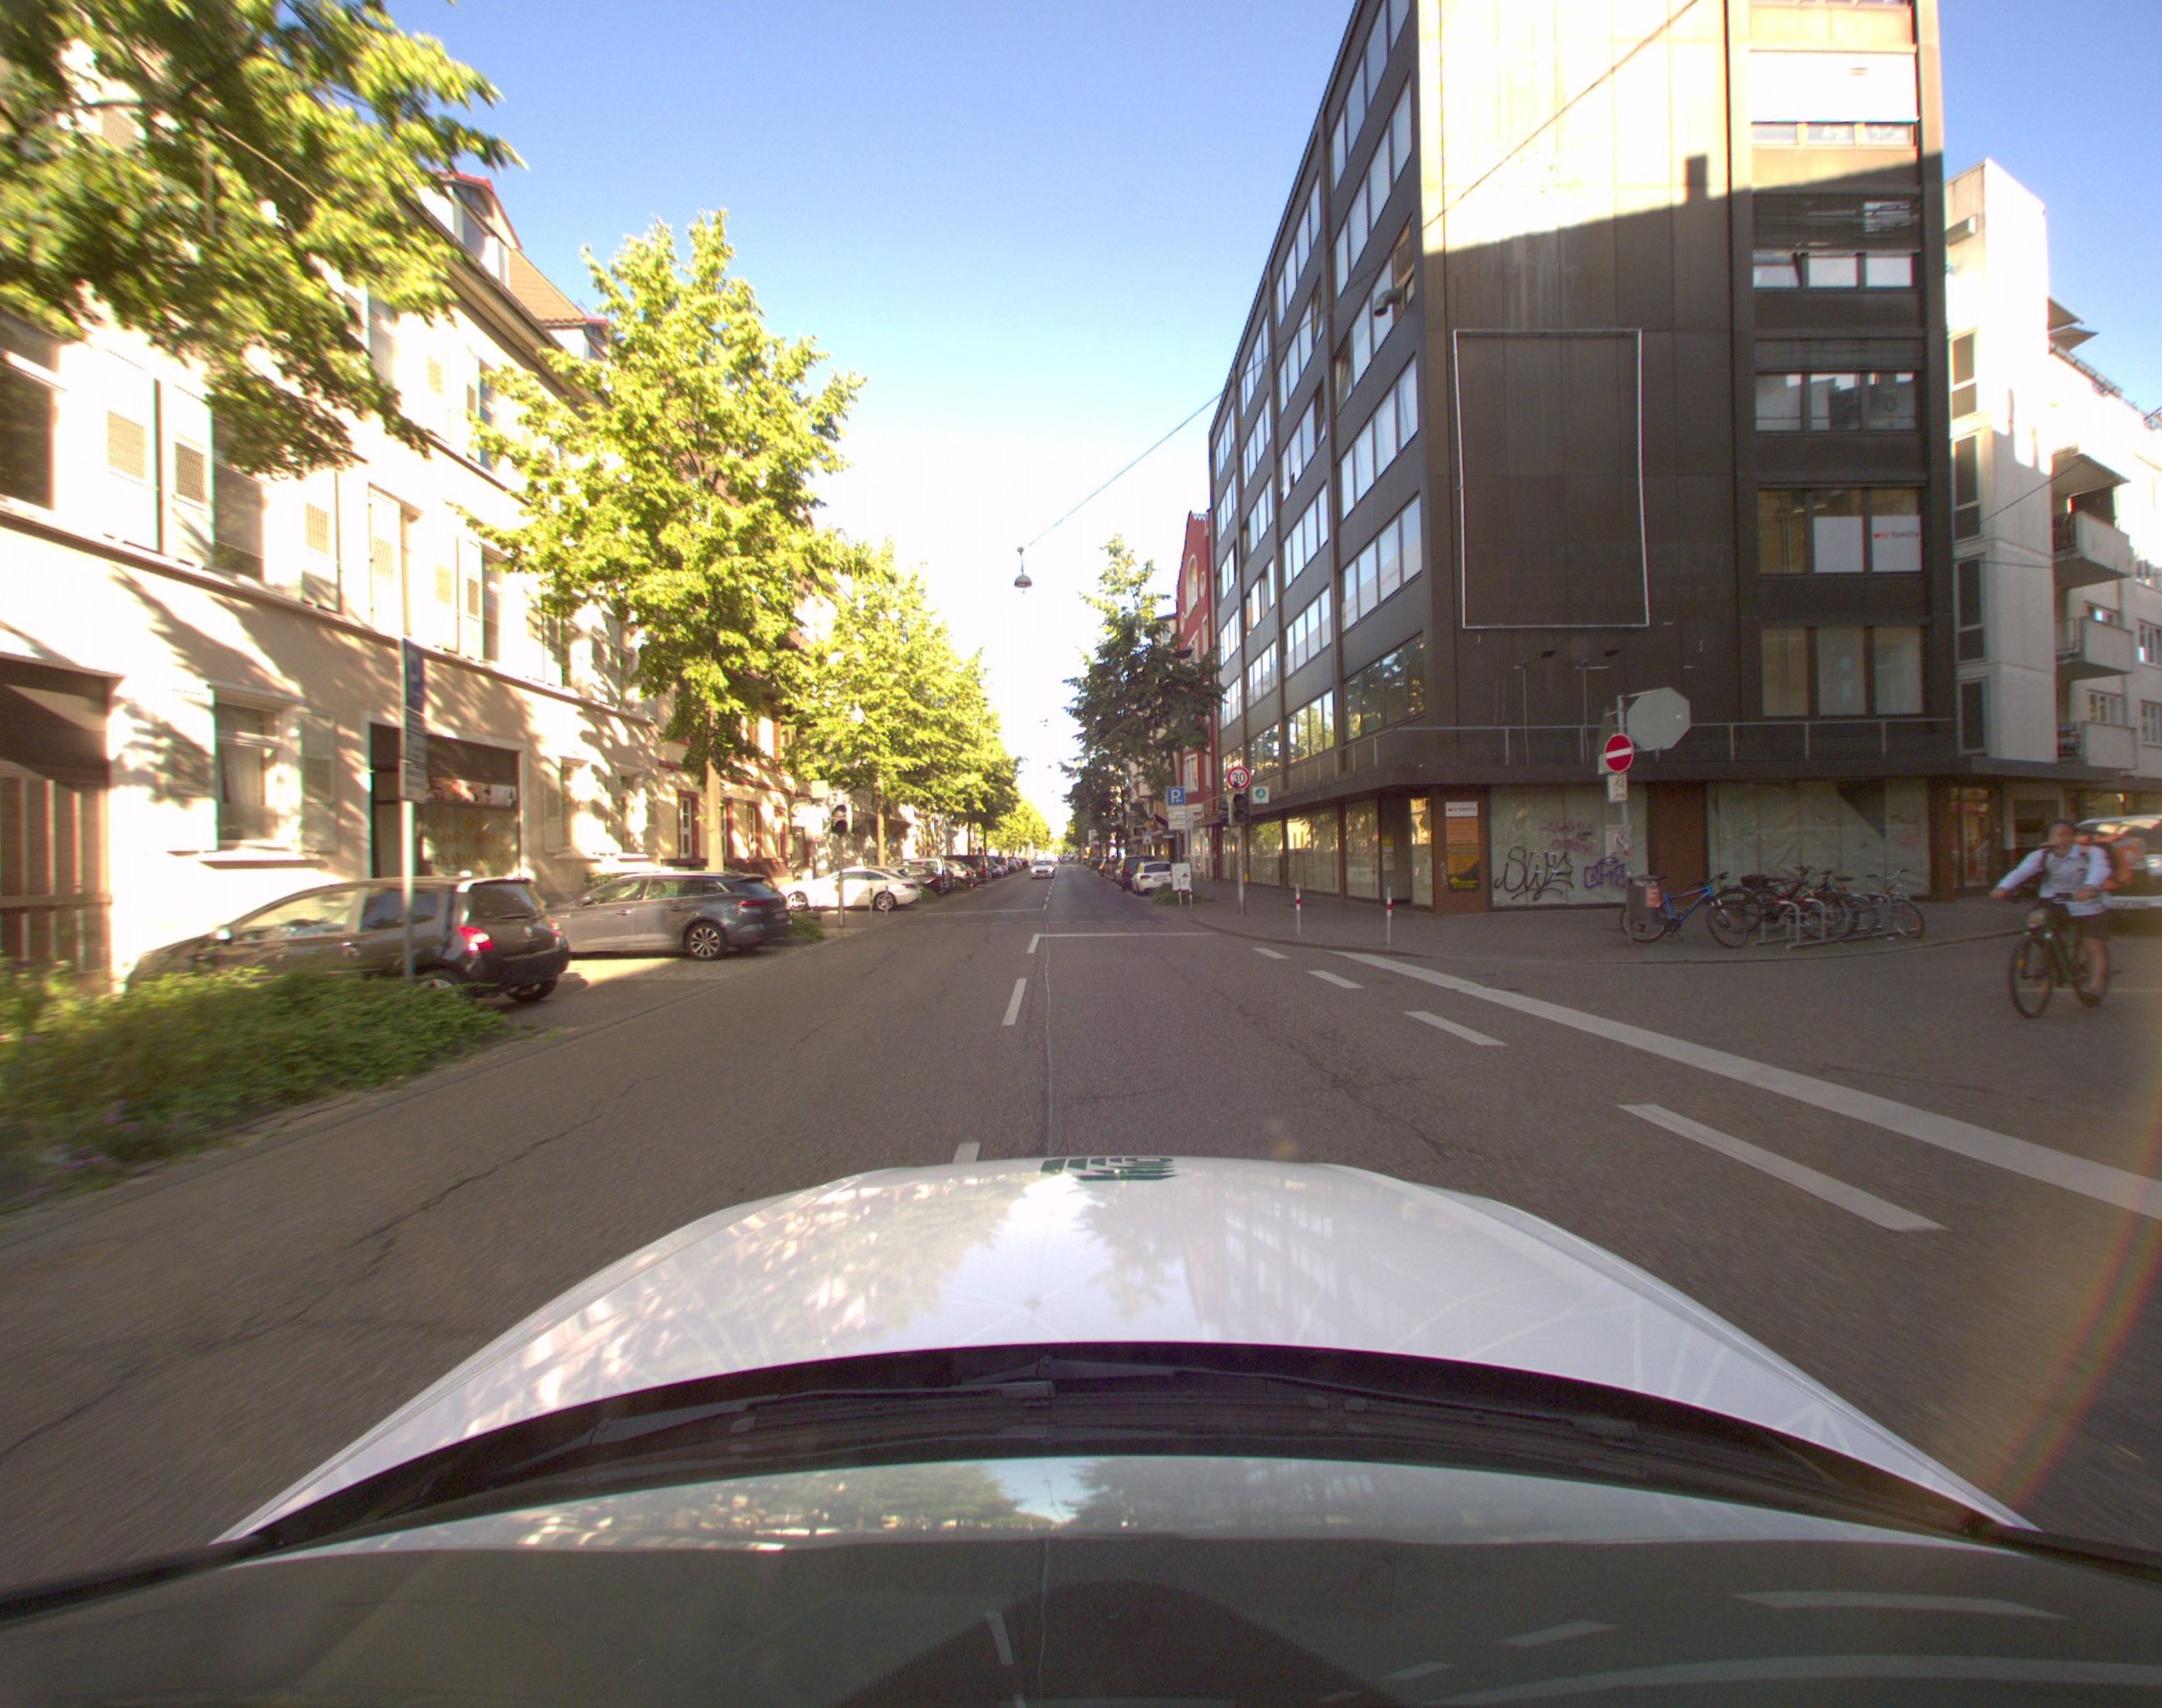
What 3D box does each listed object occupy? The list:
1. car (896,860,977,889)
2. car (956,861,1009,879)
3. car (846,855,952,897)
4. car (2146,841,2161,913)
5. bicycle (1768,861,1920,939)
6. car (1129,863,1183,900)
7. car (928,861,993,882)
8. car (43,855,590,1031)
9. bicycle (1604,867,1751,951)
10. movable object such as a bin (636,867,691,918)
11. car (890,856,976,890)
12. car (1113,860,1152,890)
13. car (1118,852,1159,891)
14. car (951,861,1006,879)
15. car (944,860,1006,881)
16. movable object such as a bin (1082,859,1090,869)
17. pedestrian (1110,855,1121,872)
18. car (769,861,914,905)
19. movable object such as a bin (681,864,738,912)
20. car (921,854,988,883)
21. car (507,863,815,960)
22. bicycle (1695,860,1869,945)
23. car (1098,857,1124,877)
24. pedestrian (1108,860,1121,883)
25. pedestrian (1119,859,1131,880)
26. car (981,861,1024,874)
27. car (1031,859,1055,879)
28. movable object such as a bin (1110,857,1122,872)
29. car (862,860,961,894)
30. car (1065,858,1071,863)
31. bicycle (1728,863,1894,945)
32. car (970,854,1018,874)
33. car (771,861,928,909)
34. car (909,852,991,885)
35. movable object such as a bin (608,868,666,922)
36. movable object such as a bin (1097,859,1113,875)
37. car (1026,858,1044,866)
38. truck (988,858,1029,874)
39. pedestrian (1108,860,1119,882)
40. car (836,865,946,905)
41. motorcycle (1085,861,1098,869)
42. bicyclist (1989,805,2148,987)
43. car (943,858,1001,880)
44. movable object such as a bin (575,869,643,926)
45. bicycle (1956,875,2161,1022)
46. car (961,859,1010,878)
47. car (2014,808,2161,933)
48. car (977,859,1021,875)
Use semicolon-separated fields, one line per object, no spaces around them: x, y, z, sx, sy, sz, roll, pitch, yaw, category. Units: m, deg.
-8.156;1.141;46.402;4.330;1.595;1.914;0;-1;-4;car
-8.687;1.434;72.103;4.449;1.541;1.917;0;-1;2;car
-8.141;0.977;36.735;4.325;1.824;1.930;0;-1;0;car
23.373;0.406;16.153;3.674;1.412;1.963;-1;-2;-25;car
12.667;0.725;13.581;0.574;1.132;1.731;0;2;-26;bicycle
3.184;1.142;35.425;1.817;1.402;4.840;-3;0;-1;car
-8.413;1.203;57.060;4.330;1.439;1.914;0;-1;-4;car
-7.835;0.852;8.702;3.973;1.640;1.944;0;-1;0;car
9.085;0.801;12.459;0.576;1.161;1.724;-1;0;-41;bicycle
-11.651;1.052;22.777;0.814;1.362;1.346;0;-1;2;movable object such as a bin
-7.922;1.010;43.991;4.330;1.733;1.914;0;-1;-4;car
2.970;1.186;48.211;1.817;1.596;4.839;-3;0;-1;car
2.894;0.844;41.849;1.815;1.777;4.933;-3;0;2;car
-8.724;1.347;69.348;4.455;1.541;1.915;0;-1;-3;car
-8.103;1.250;62.418;4.451;1.541;1.916;0;-1;0;car
0.791;1.691;136.644;1.136;1.562;1.462;-2;0;7;movable object such as a bin
3.881;1.056;91.573;0.917;1.935;0.765;-1;-1;23;pedestrian
-8.521;1.030;29.363;4.693;1.492;1.996;1;0;-6;car
-11.604;1.043;25.500;1.129;1.445;1.382;0;-1;2;movable object such as a bin
-8.426;0.967;54.182;4.342;1.834;1.909;0;-1;-12;car
-7.150;0.946;14.219;4.325;1.544;1.944;0;-1;0;car
11.133;0.725;13.025;0.575;1.161;1.999;0;3;-30;bicycle
2.443;1.081;67.618;1.817;1.472;4.909;-3;0;-1;car
2.386;1.231;57.565;0.744;1.536;0.810;-2;-1;13;pedestrian
3.207;1.110;58.865;0.706;1.536;0.772;-2;-1;13;pedestrian
-8.938;1.551;93.233;4.665;1.519;1.808;0;-1;0;car
-3.030;1.213;65.530;1.905;1.544;4.350;0;-1;-2;car
3.402;0.992;78.542;1.074;1.431;1.294;-1;0;-1;movable object such as a bin
-8.172;1.096;39.487;4.322;1.544;1.918;0;-1;2;car
-3.536;1.774;221.131;1.787;1.411;3.997;-1;0;-2;car
11.798;0.763;13.241;0.575;1.132;1.909;0;3;-30;bicycle
-8.702;1.030;81.813;4.665;1.950;1.916;0;-1;0;car
-7.553;1.034;26.993;4.693;1.492;1.995;1;-2;-6;car
-7.820;0.881;48.992;4.557;1.927;1.930;0;-1;1;car
-11.674;1.054;21.451;0.826;1.355;1.249;0;-1;2;movable object such as a bin
2.248;1.241;76.154;1.395;1.454;1.145;-1;0;-2;movable object such as a bin
-10.493;1.859;187.037;3.970;1.694;2.002;-1;0;3;car
-9.189;1.501;103.341;5.072;1.938;1.998;-1;0;-2;truck
2.363;1.211;58.864;0.649;1.536;0.979;-1;-1;-3;pedestrian
-7.904;1.249;34.016;4.344;1.544;1.955;0;-1;-13;car
1.621;1.696;126.336;1.980;1.330;0.907;-1;0;-14;motorcycle
8.857;0.352;7.319;0.890;1.525;0.664;0;-1;-23;bicyclist
-8.659;1.190;64.979;4.328;1.709;1.915;0;-1;-2;car
-11.660;1.050;20.170;0.905;1.367;1.261;0;-1;2;movable object such as a bin
8.774;0.781;7.275;1.946;1.158;0.664;0;-1;-23;bicycle
-9.240;1.368;78.827;4.452;1.772;1.916;0;-1;0;car
18.636;0.248;14.062;4.961;1.929;2.100;0;-1;-26;car
-9.093;1.456;90.415;4.665;1.712;1.808;0;-1;0;car
